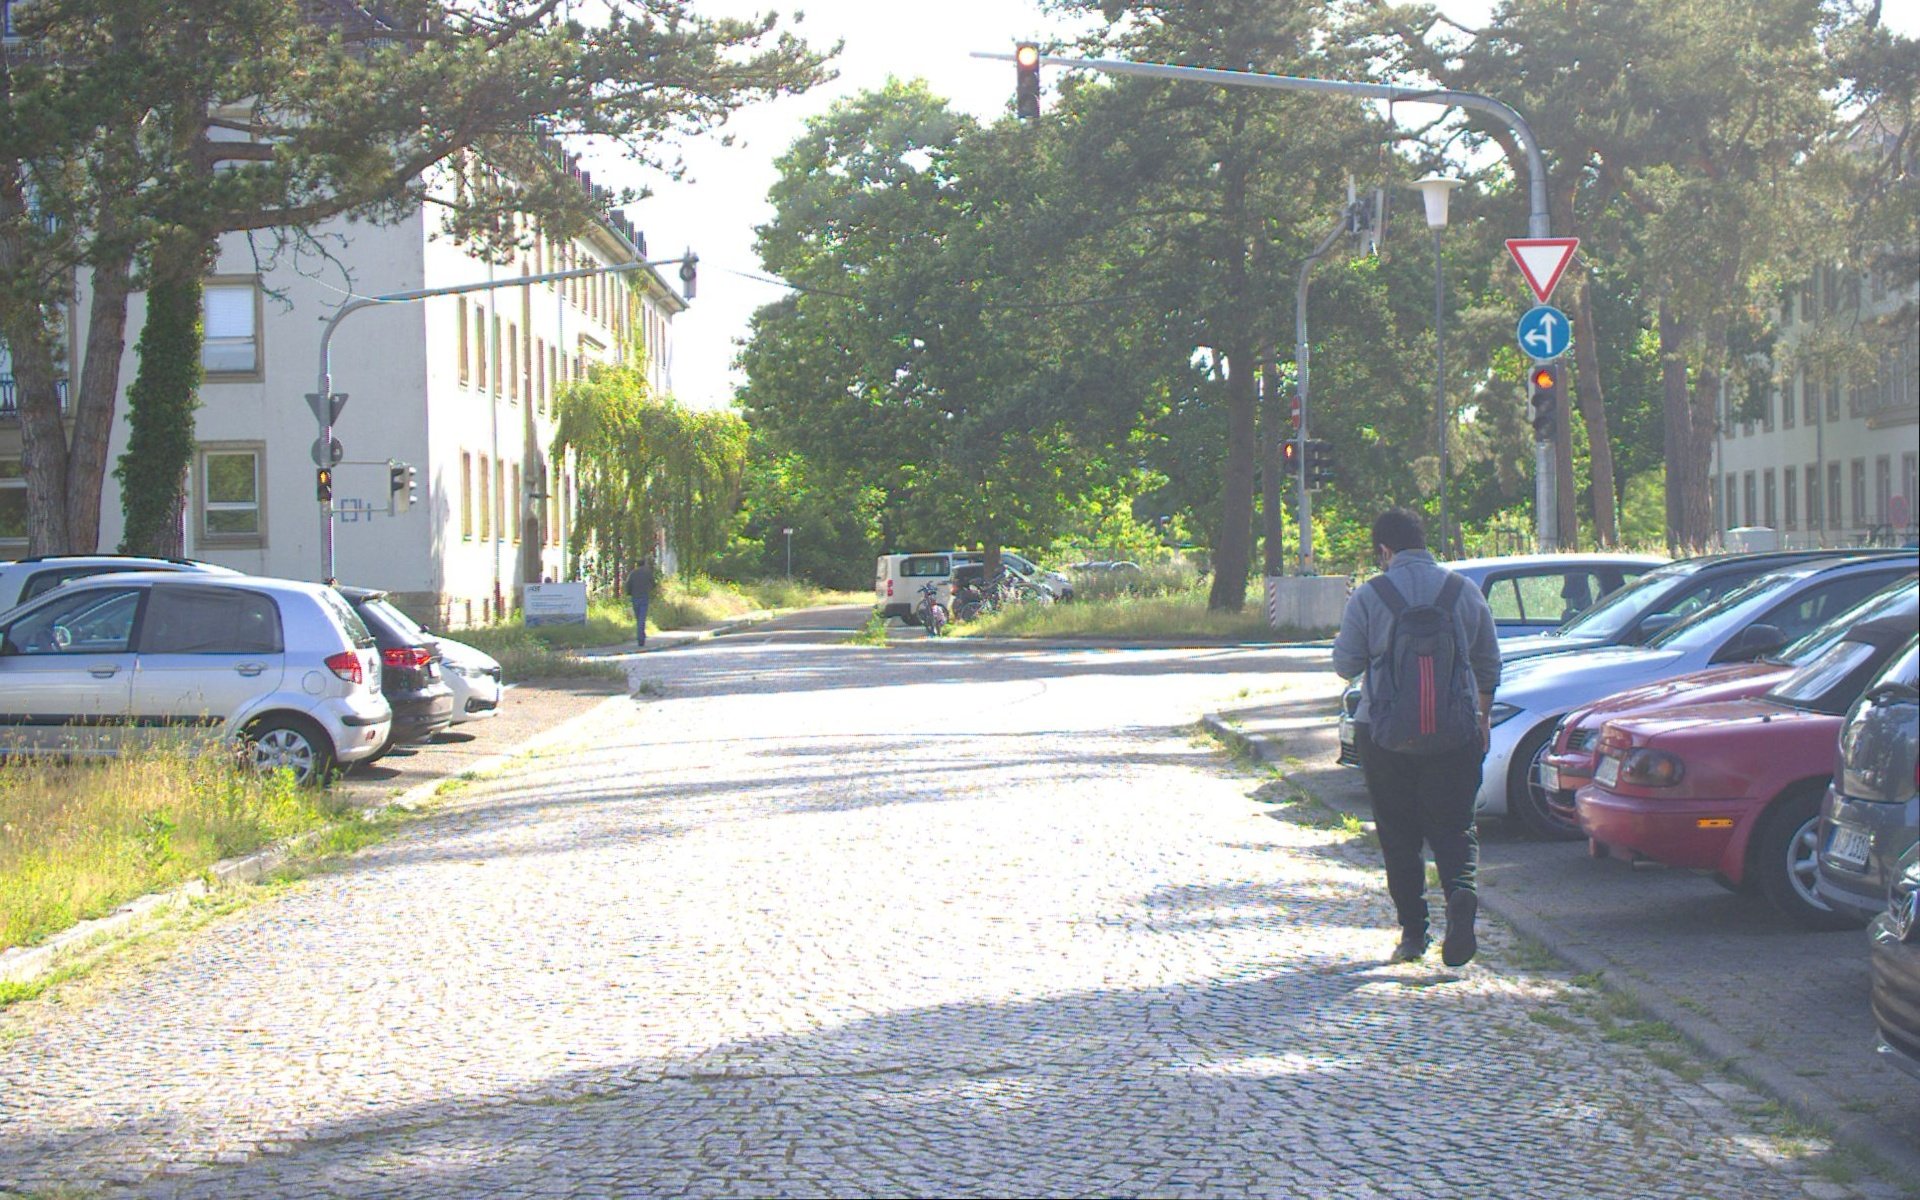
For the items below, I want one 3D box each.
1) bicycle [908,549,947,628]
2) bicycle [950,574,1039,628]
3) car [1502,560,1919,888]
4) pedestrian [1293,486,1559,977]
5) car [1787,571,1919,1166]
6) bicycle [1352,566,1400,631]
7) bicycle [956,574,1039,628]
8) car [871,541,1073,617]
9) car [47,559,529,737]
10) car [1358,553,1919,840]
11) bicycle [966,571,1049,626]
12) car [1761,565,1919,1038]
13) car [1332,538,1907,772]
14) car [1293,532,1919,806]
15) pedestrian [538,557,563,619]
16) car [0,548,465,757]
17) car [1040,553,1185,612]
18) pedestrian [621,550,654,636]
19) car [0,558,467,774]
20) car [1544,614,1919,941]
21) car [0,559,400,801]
[{"bbox_3d":[-0.668,-0.247,69.740,0.753,1.575,2.537,-1,1,-1],"label":"bicycle"},{"bbox_3d":[0.732,0.021,73.199,1.834,1.108,0.495,-1,0,-3],"label":"bicycle"},{"bbox_3d":[4.769,0.530,16.647,3.979,1.443,1.655,-2,1,-1],"label":"car"},{"bbox_3d":[1.713,0.468,12.761,0.753,1.719,0.828,4,0,-1],"label":"pedestrian"},{"bbox_3d":[4.232,0.593,8.792,3.781,1.445,1.757,-2,1,1],"label":"car"},{"bbox_3d":[7.429,-0.032,61.285,0.722,1.111,2.582,-1,1,9],"label":"bicycle"},{"bbox_3d":[0.796,0.015,73.744,1.727,1.108,0.484,-1,0,-3],"label":"bicycle"},{"bbox_3d":[0.304,-0.560,91.092,5.065,1.911,2.001,-1,1,-9],"label":"car"},{"bbox_3d":[-6.131,0.414,31.621,3.987,1.491,1.772,1,1,5],"label":"car"},{"bbox_3d":[4.540,0.472,18.980,4.399,1.384,1.789,-2,1,-1],"label":"car"},{"bbox_3d":[1.027,-0.032,74.424,1.727,1.160,0.561,-1,0,-3],"label":"bicycle"},{"bbox_3d":[4.749,0.547,11.556,3.663,1.450,1.667,-3,1,0],"label":"car"},{"bbox_3d":[4.580,0.365,24.244,3.673,1.438,1.665,-3,1,0],"label":"car"},{"bbox_3d":[4.580,0.387,21.874,4.619,1.450,1.870,-3,1,-2],"label":"car"},{"bbox_3d":[-10.391,-0.315,87.199,0.606,1.554,0.545,-1,1,-7],"label":"pedestrian"},{"bbox_3d":[-6.203,0.416,28.727,3.879,1.610,1.661,1,1,-1],"label":"car"},{"bbox_3d":[4.210,-0.492,94.997,3.743,1.574,1.742,-1,1,-7],"label":"car"},{"bbox_3d":[-6.589,-0.154,70.240,0.607,1.746,0.630,-1,1,-1],"label":"pedestrian"},{"bbox_3d":[-5.844,0.471,26.087,3.937,1.440,1.691,2,1,-1],"label":"car"},{"bbox_3d":[4.286,0.689,14.260,3.460,1.238,1.536,-1,1,0],"label":"car"},{"bbox_3d":[-5.787,0.510,23.424,3.685,1.522,1.699,1,1,-3],"label":"car"}]
